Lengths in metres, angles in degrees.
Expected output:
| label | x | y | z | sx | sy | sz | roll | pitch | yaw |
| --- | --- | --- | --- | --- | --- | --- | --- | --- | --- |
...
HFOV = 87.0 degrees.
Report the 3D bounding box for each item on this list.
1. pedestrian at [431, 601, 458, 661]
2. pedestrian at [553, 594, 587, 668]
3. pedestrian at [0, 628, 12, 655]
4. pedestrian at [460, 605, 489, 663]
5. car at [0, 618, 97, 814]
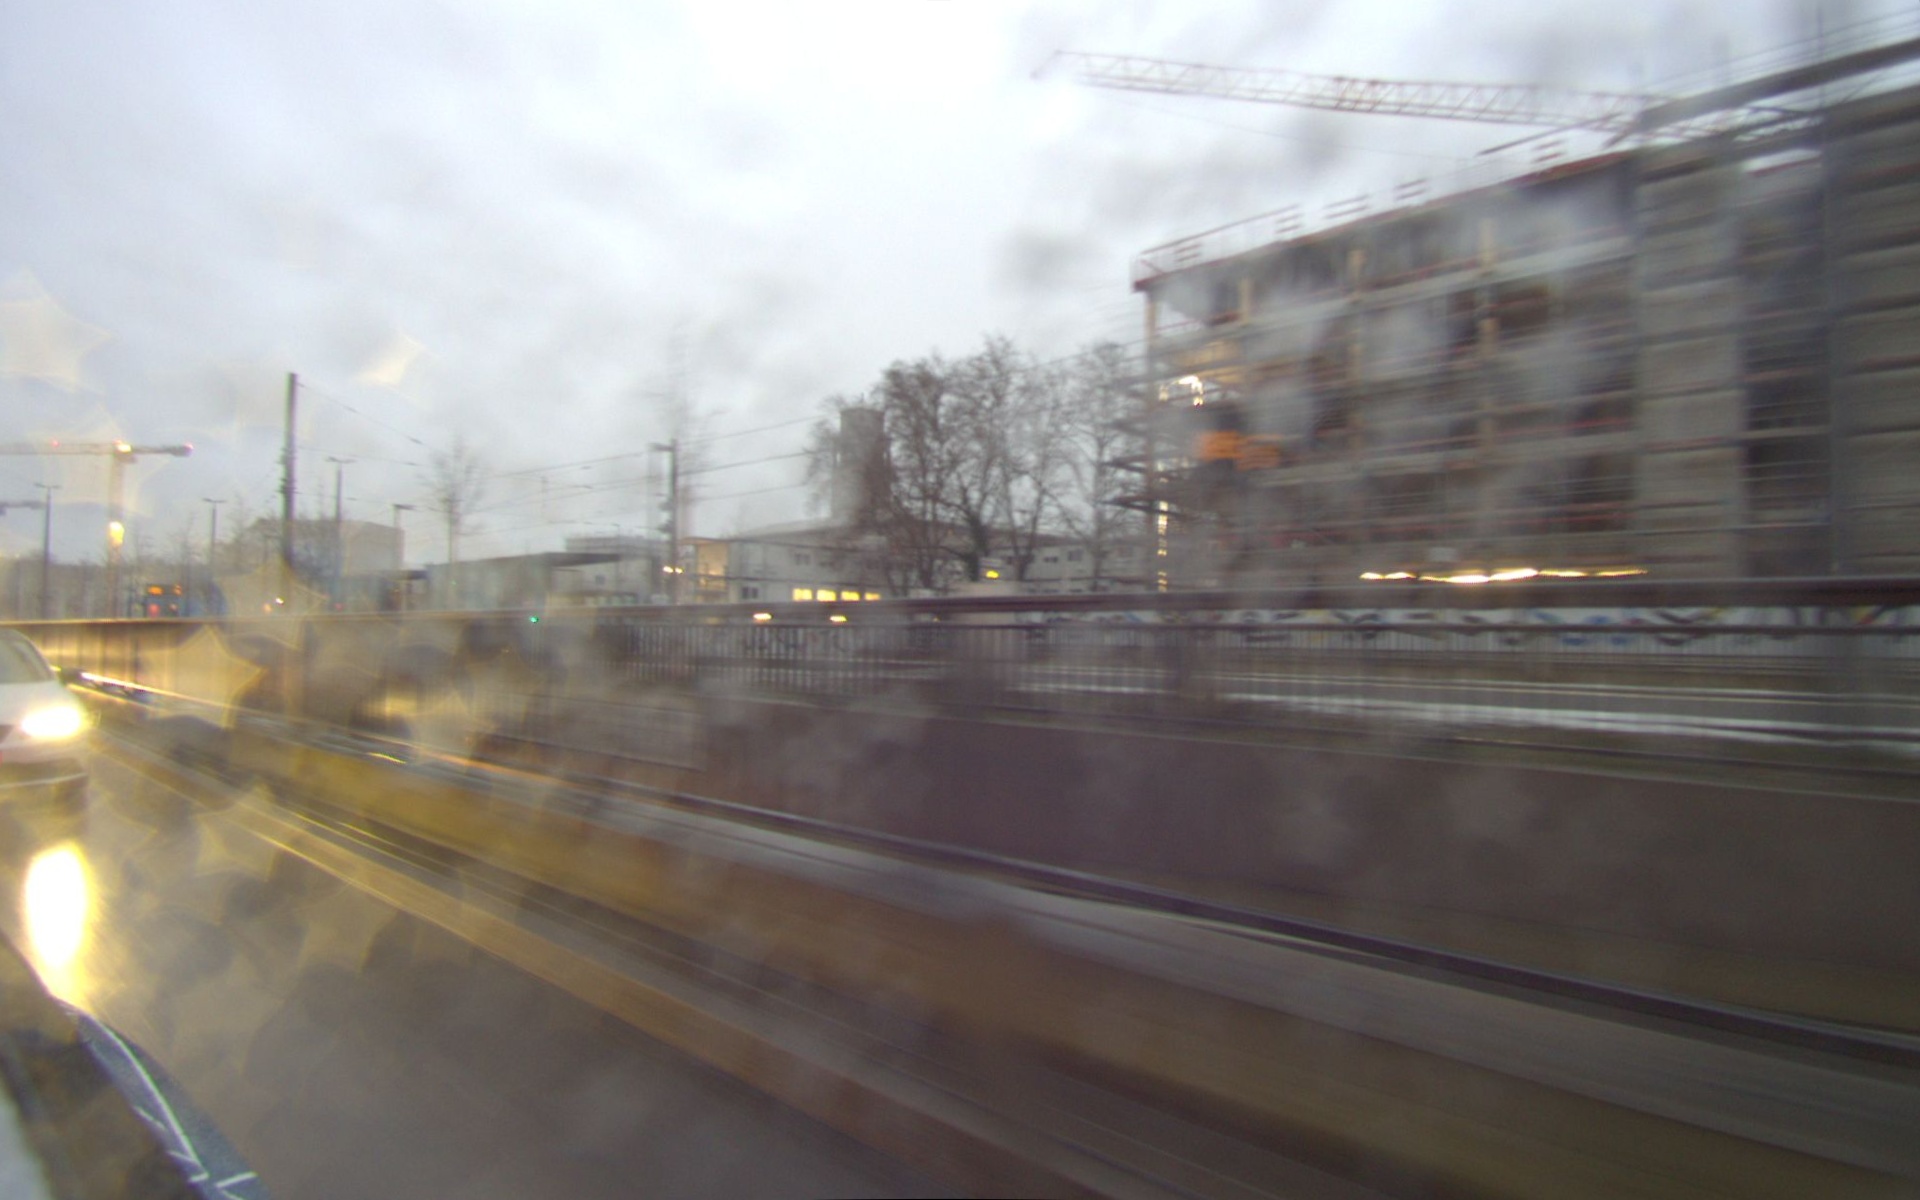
| label | x | y | z | sx | sy | sz | roll | pitch | yaw |
| --- | --- | --- | --- | --- | --- | --- | --- | --- | --- |
| pedestrian | -14.959 | 0.894 | 29.360 | 0.576 | 1.714 | 0.742 | 1 | -2 | -37 |
| pedestrian | -9.193 | 0.725 | 23.853 | 0.576 | 1.714 | 0.742 | 1 | -2 | -37 |
| pedestrian | -61.379 | 2.642 | 64.705 | 0.757 | 1.727 | 0.857 | -1 | -1 | 15 |
| pedestrian | -13.255 | 0.918 | 27.634 | 0.576 | 1.562 | 0.742 | 1 | -2 | -37 |
| car | -9.023 | 0.925 | 8.897 | 4.140 | 1.484 | 1.789 | -2 | -2 | 44 |
